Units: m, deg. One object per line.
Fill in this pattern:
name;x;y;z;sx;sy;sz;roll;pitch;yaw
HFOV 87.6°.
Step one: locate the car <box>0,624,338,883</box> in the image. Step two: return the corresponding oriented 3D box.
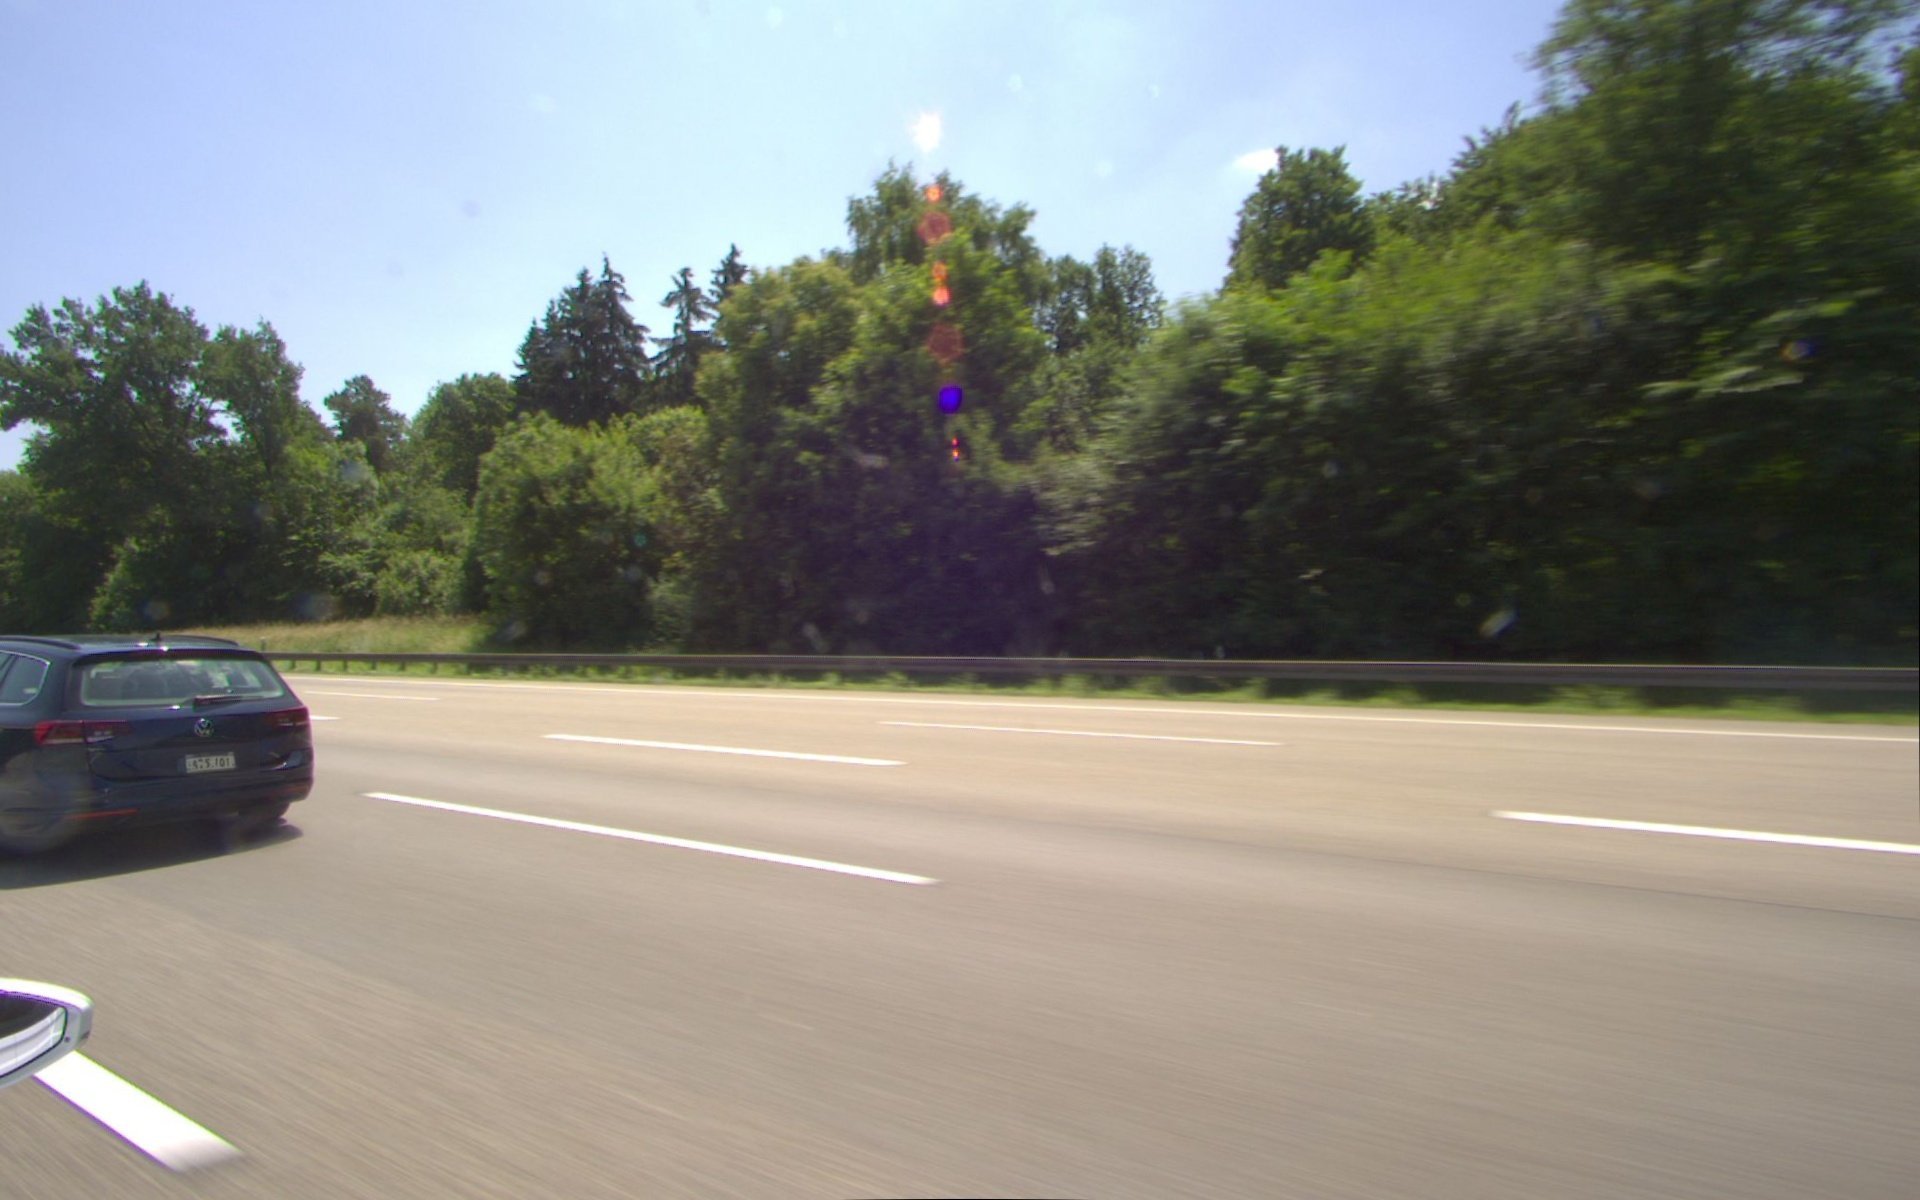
car;-6.972;0.931;7.797;4.891;1.466;1.726;-1;-1;33
